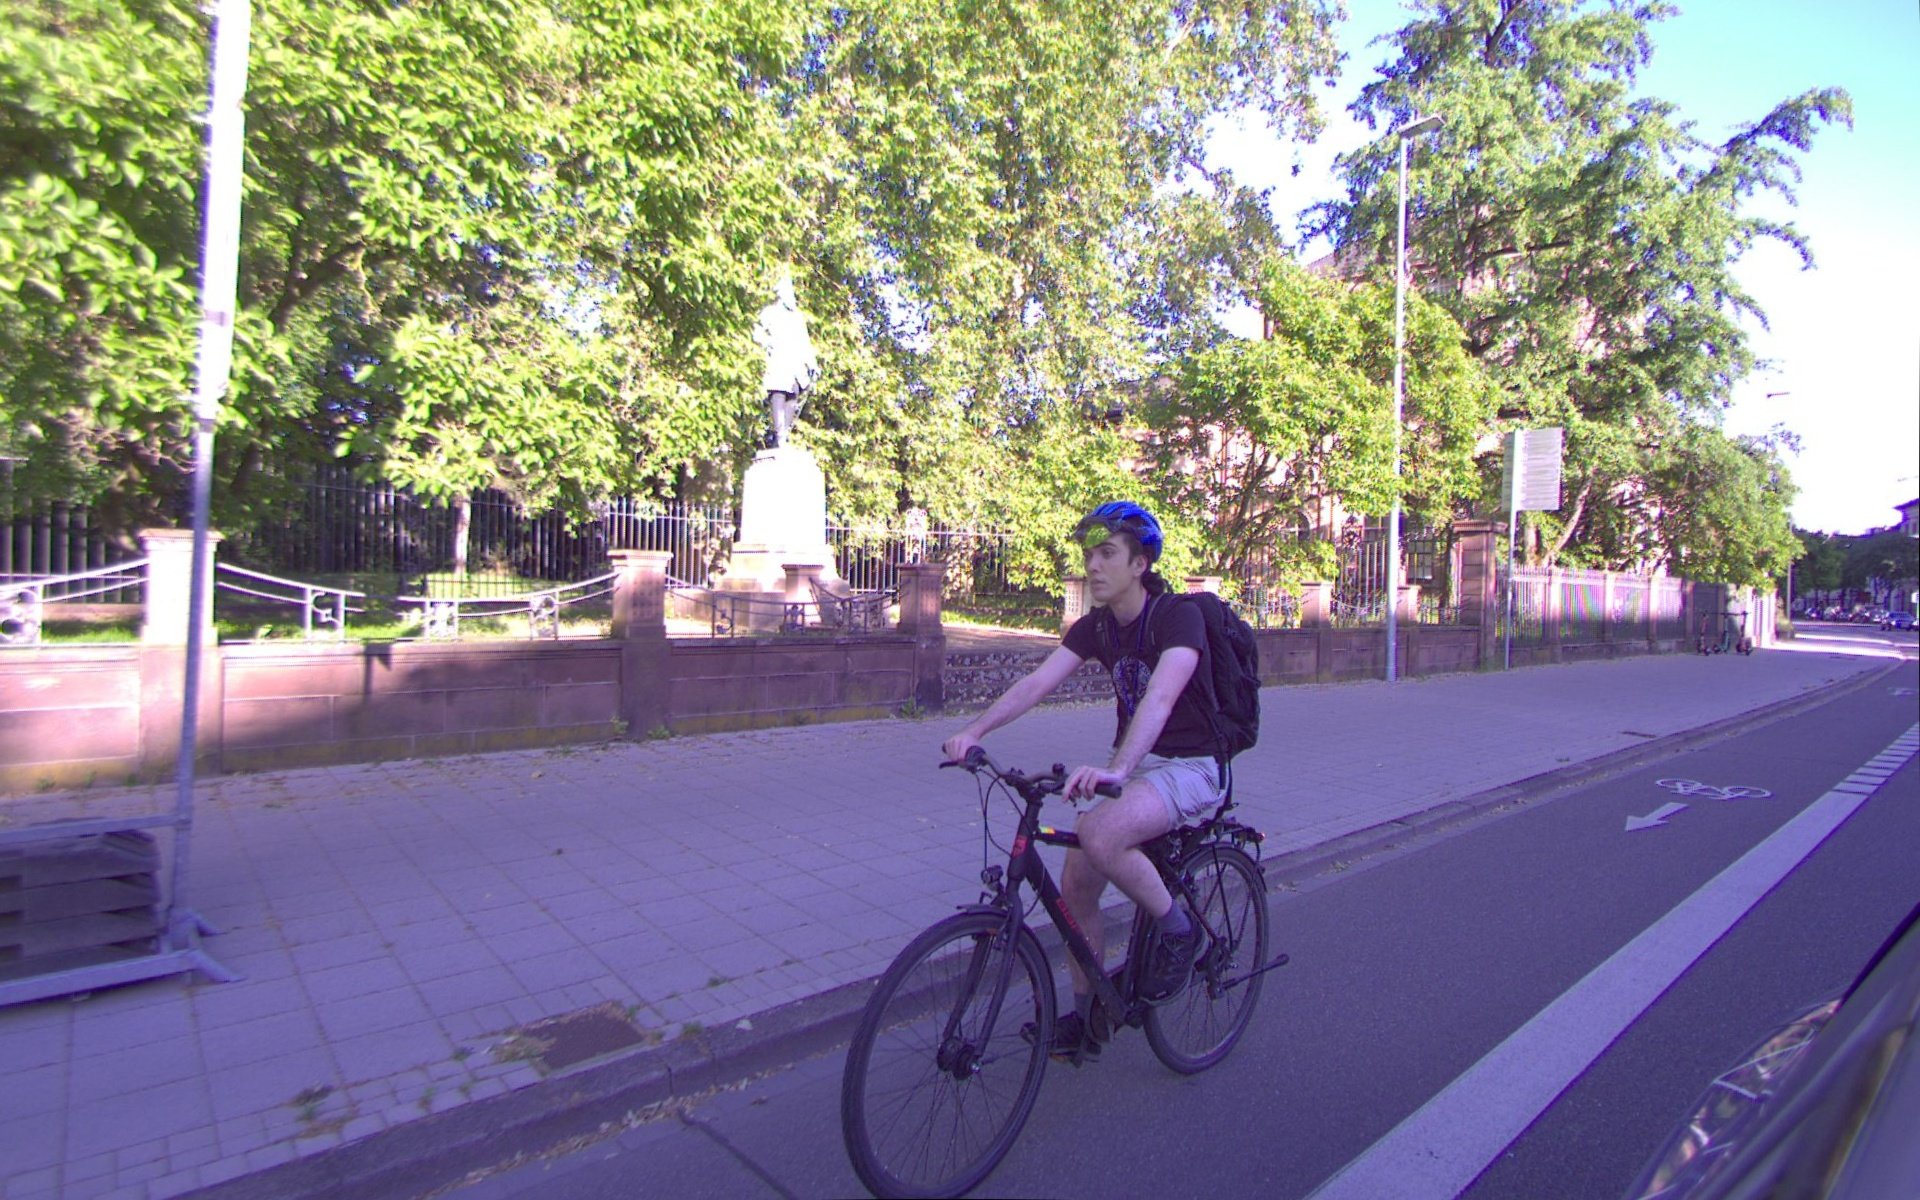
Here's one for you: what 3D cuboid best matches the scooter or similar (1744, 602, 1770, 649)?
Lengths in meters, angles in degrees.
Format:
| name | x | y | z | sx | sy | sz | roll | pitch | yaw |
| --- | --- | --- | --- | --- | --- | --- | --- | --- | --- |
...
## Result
| name | x | y | z | sx | sy | sz | roll | pitch | yaw |
| --- | --- | --- | --- | --- | --- | --- | --- | --- | --- |
| scooter or similar | 22.720 | 0.711 | 28.859 | 0.514 | 1.255 | 1.502 | 2 | 1 | 37 |

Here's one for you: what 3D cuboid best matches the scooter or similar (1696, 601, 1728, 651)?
| name | x | y | z | sx | sy | sz | roll | pitch | yaw |
| --- | --- | --- | --- | --- | --- | --- | --- | --- | --- |
| scooter or similar | 20.267 | 0.682 | 27.294 | 0.572 | 1.269 | 1.470 | 2 | 1 | 33 |

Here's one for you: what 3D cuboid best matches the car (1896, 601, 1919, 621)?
| name | x | y | z | sx | sy | sz | roll | pitch | yaw |
| --- | --- | --- | --- | --- | --- | --- | --- | --- | --- |
| car | 70.385 | 0.806 | 74.816 | 1.705 | 1.422 | 4.197 | 3 | 2 | 43 |

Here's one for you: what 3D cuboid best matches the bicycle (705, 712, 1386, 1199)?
| name | x | y | z | sx | sy | sz | roll | pitch | yaw |
| --- | --- | --- | --- | --- | --- | --- | --- | --- | --- |
| bicycle | 0.386 | 0.920 | 2.803 | 2.045 | 1.022 | 0.669 | 0 | -1 | -42 |

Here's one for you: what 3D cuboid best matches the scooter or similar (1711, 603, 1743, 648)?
| name | x | y | z | sx | sy | sz | roll | pitch | yaw |
| --- | --- | --- | --- | --- | --- | --- | --- | --- | --- |
| scooter or similar | 21.619 | 0.700 | 28.514 | 0.574 | 1.199 | 1.465 | 2 | 1 | 41 |

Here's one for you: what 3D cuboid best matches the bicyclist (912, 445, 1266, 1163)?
| name | x | y | z | sx | sy | sz | roll | pitch | yaw |
| --- | --- | --- | --- | --- | --- | --- | --- | --- | --- |
| bicyclist | 0.354 | 0.459 | 2.779 | 0.708 | 1.622 | 0.666 | 1 | -1 | -42 |
